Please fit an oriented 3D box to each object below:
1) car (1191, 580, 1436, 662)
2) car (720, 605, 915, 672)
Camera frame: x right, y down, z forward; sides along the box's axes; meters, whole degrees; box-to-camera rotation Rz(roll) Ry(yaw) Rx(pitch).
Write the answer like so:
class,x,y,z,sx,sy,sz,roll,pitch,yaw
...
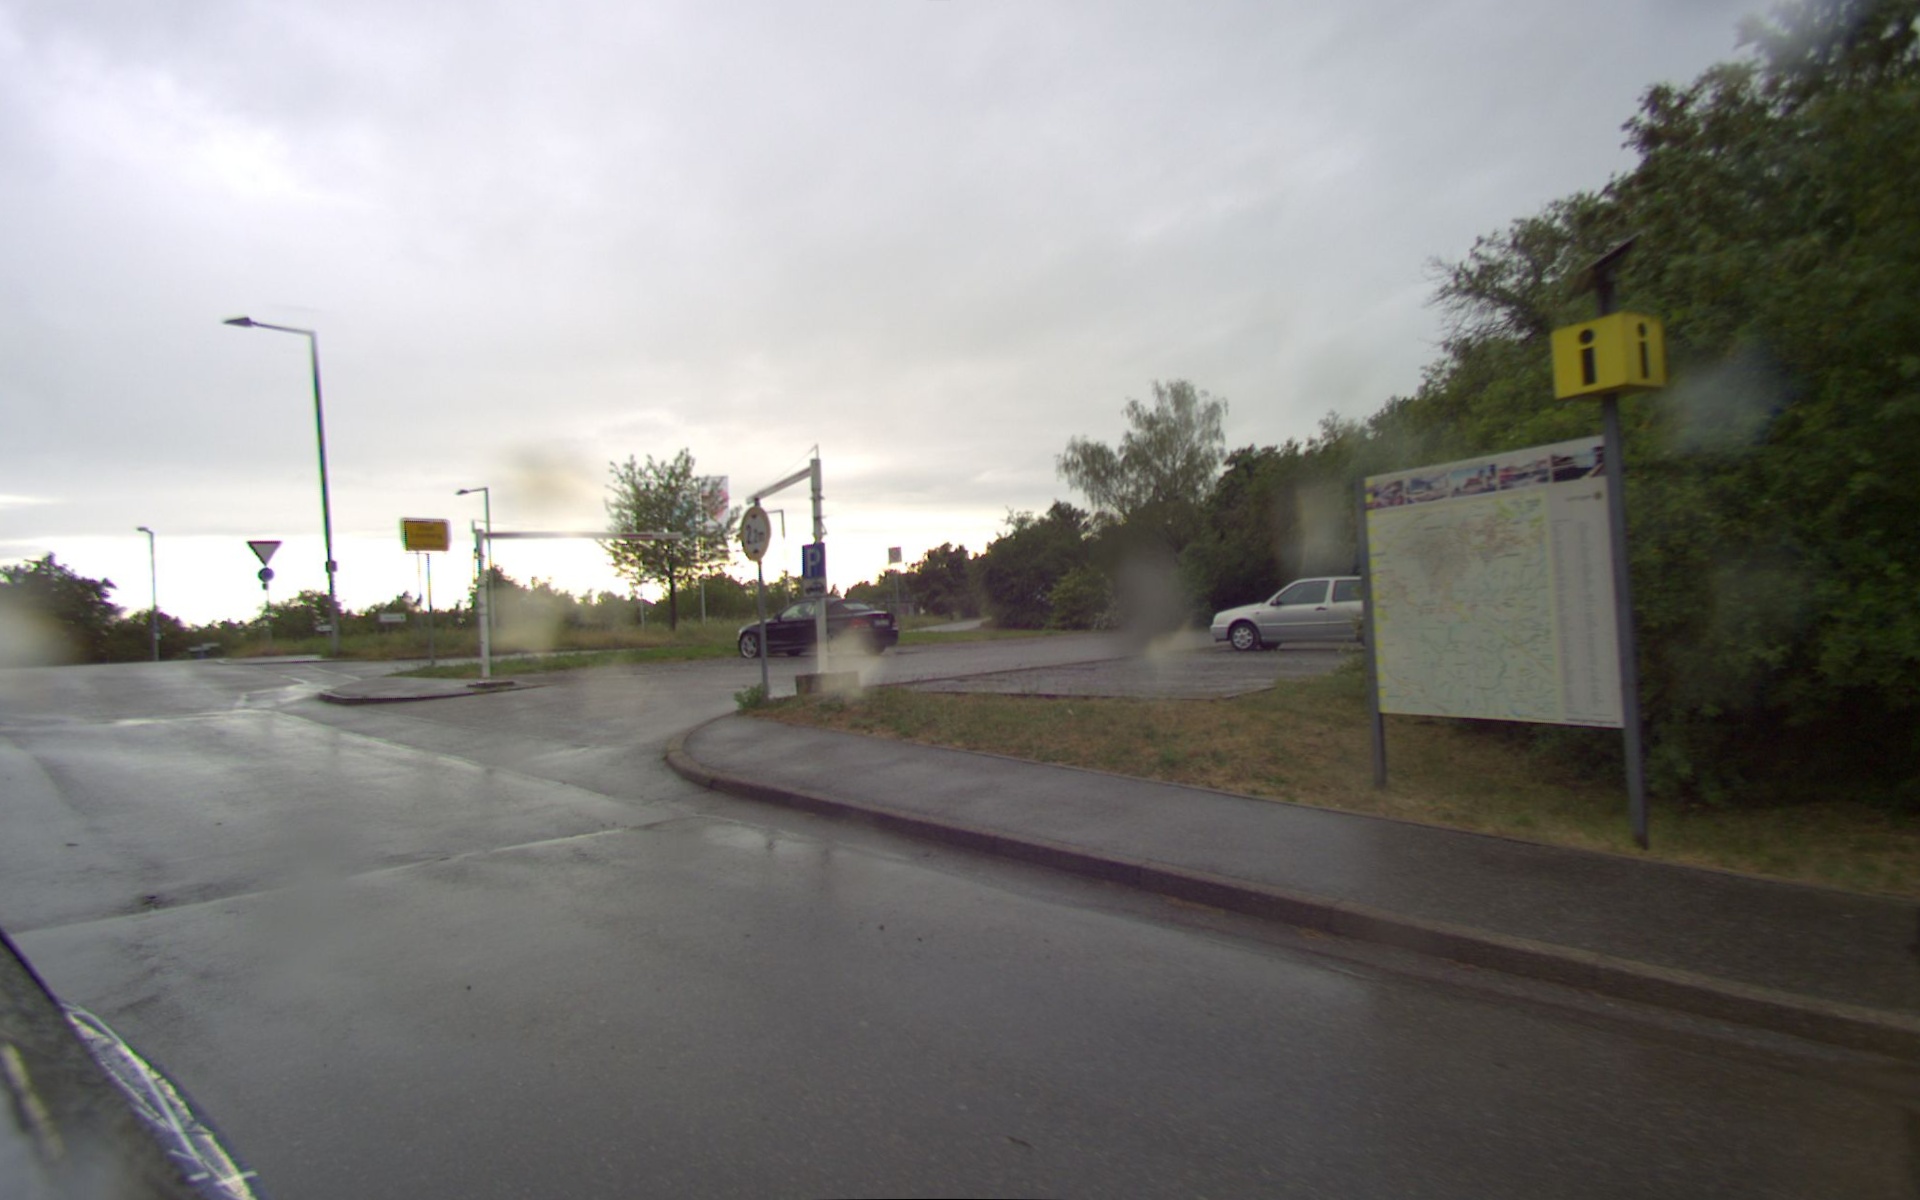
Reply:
class,x,y,z,sx,sy,sz,roll,pitch,yaw
car,6.792,0.445,19.651,4.164,1.409,1.676,-3,-2,37
car,-3.431,0.929,24.086,4.418,1.426,1.976,-3,-2,35
